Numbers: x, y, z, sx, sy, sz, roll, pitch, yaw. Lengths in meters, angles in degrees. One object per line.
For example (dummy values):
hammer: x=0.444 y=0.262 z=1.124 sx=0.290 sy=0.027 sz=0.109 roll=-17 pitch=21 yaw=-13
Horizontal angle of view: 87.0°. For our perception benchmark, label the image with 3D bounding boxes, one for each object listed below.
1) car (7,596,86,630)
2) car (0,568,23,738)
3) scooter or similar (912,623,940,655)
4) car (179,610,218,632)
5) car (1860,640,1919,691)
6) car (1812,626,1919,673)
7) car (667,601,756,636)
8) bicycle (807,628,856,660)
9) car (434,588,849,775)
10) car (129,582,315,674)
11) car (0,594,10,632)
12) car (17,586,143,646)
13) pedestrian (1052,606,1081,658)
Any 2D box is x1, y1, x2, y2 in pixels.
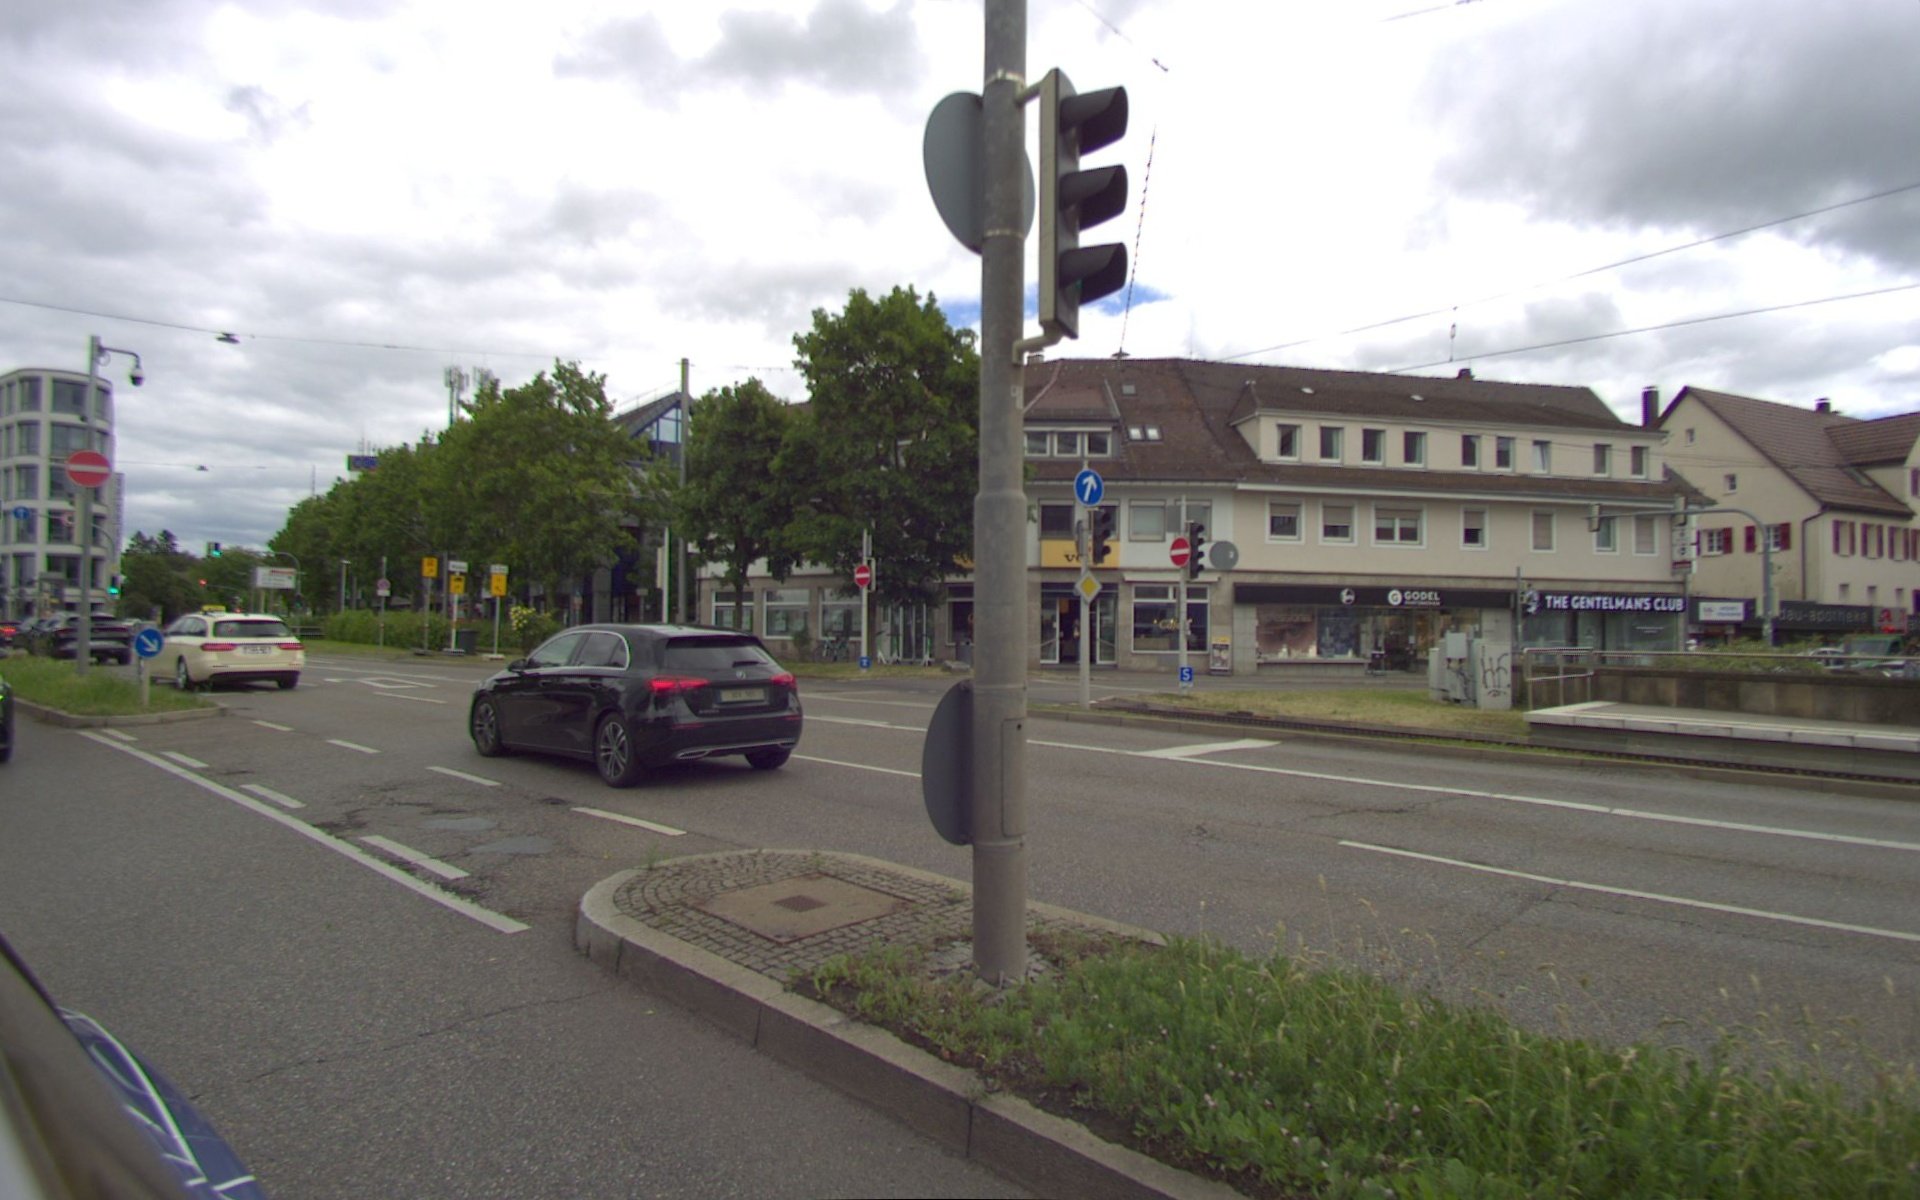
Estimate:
car: x=-41.472 y=0.594 z=45.907 sx=4.537 sy=1.483 sz=1.930 roll=0 pitch=-1 yaw=39
car: x=-11.187 y=0.473 z=10.207 sx=4.767 sy=1.563 sz=1.849 roll=0 pitch=-1 yaw=39
scooter or similar: x=-1.047 y=1.213 z=31.716 sx=0.619 sy=0.988 sz=1.445 roll=1 pitch=-1 yaw=8
car: x=-53.633 y=1.467 z=71.269 sx=1.925 sy=1.483 sz=4.550 roll=2 pitch=-1 yaw=-40
car: x=33.582 y=2.251 z=34.719 sx=4.007 sy=1.664 sz=2.005 roll=2 pitch=-1 yaw=-11
car: x=34.978 y=1.876 z=38.377 sx=4.007 sy=1.664 sz=2.005 roll=2 pitch=-1 yaw=-11
car: x=-11.945 y=0.896 z=48.860 sx=1.993 sy=1.608 sz=3.958 roll=0 pitch=-1 yaw=31
bicycle: x=-4.158 y=1.416 z=32.944 sx=0.622 sy=0.995 sz=2.040 roll=1 pitch=-1 yaw=23
car: x=-3.442 y=0.665 z=10.328 sx=4.774 sy=1.470 sz=1.971 roll=0 pitch=-1 yaw=44
car: x=-14.697 y=0.516 z=20.052 sx=4.812 sy=1.606 sz=1.892 roll=0 pitch=-1 yaw=40
car: x=-40.143 y=0.501 z=40.881 sx=4.537 sy=1.483 sz=1.930 roll=0 pitch=-1 yaw=39
car: x=-25.450 y=0.444 z=29.215 sx=4.767 sy=1.606 sz=1.930 roll=0 pitch=-1 yaw=39
pedestrian: x=3.851 y=1.155 z=36.605 sx=0.760 sy=1.836 sz=0.707 roll=2 pitch=-1 yaw=-40
